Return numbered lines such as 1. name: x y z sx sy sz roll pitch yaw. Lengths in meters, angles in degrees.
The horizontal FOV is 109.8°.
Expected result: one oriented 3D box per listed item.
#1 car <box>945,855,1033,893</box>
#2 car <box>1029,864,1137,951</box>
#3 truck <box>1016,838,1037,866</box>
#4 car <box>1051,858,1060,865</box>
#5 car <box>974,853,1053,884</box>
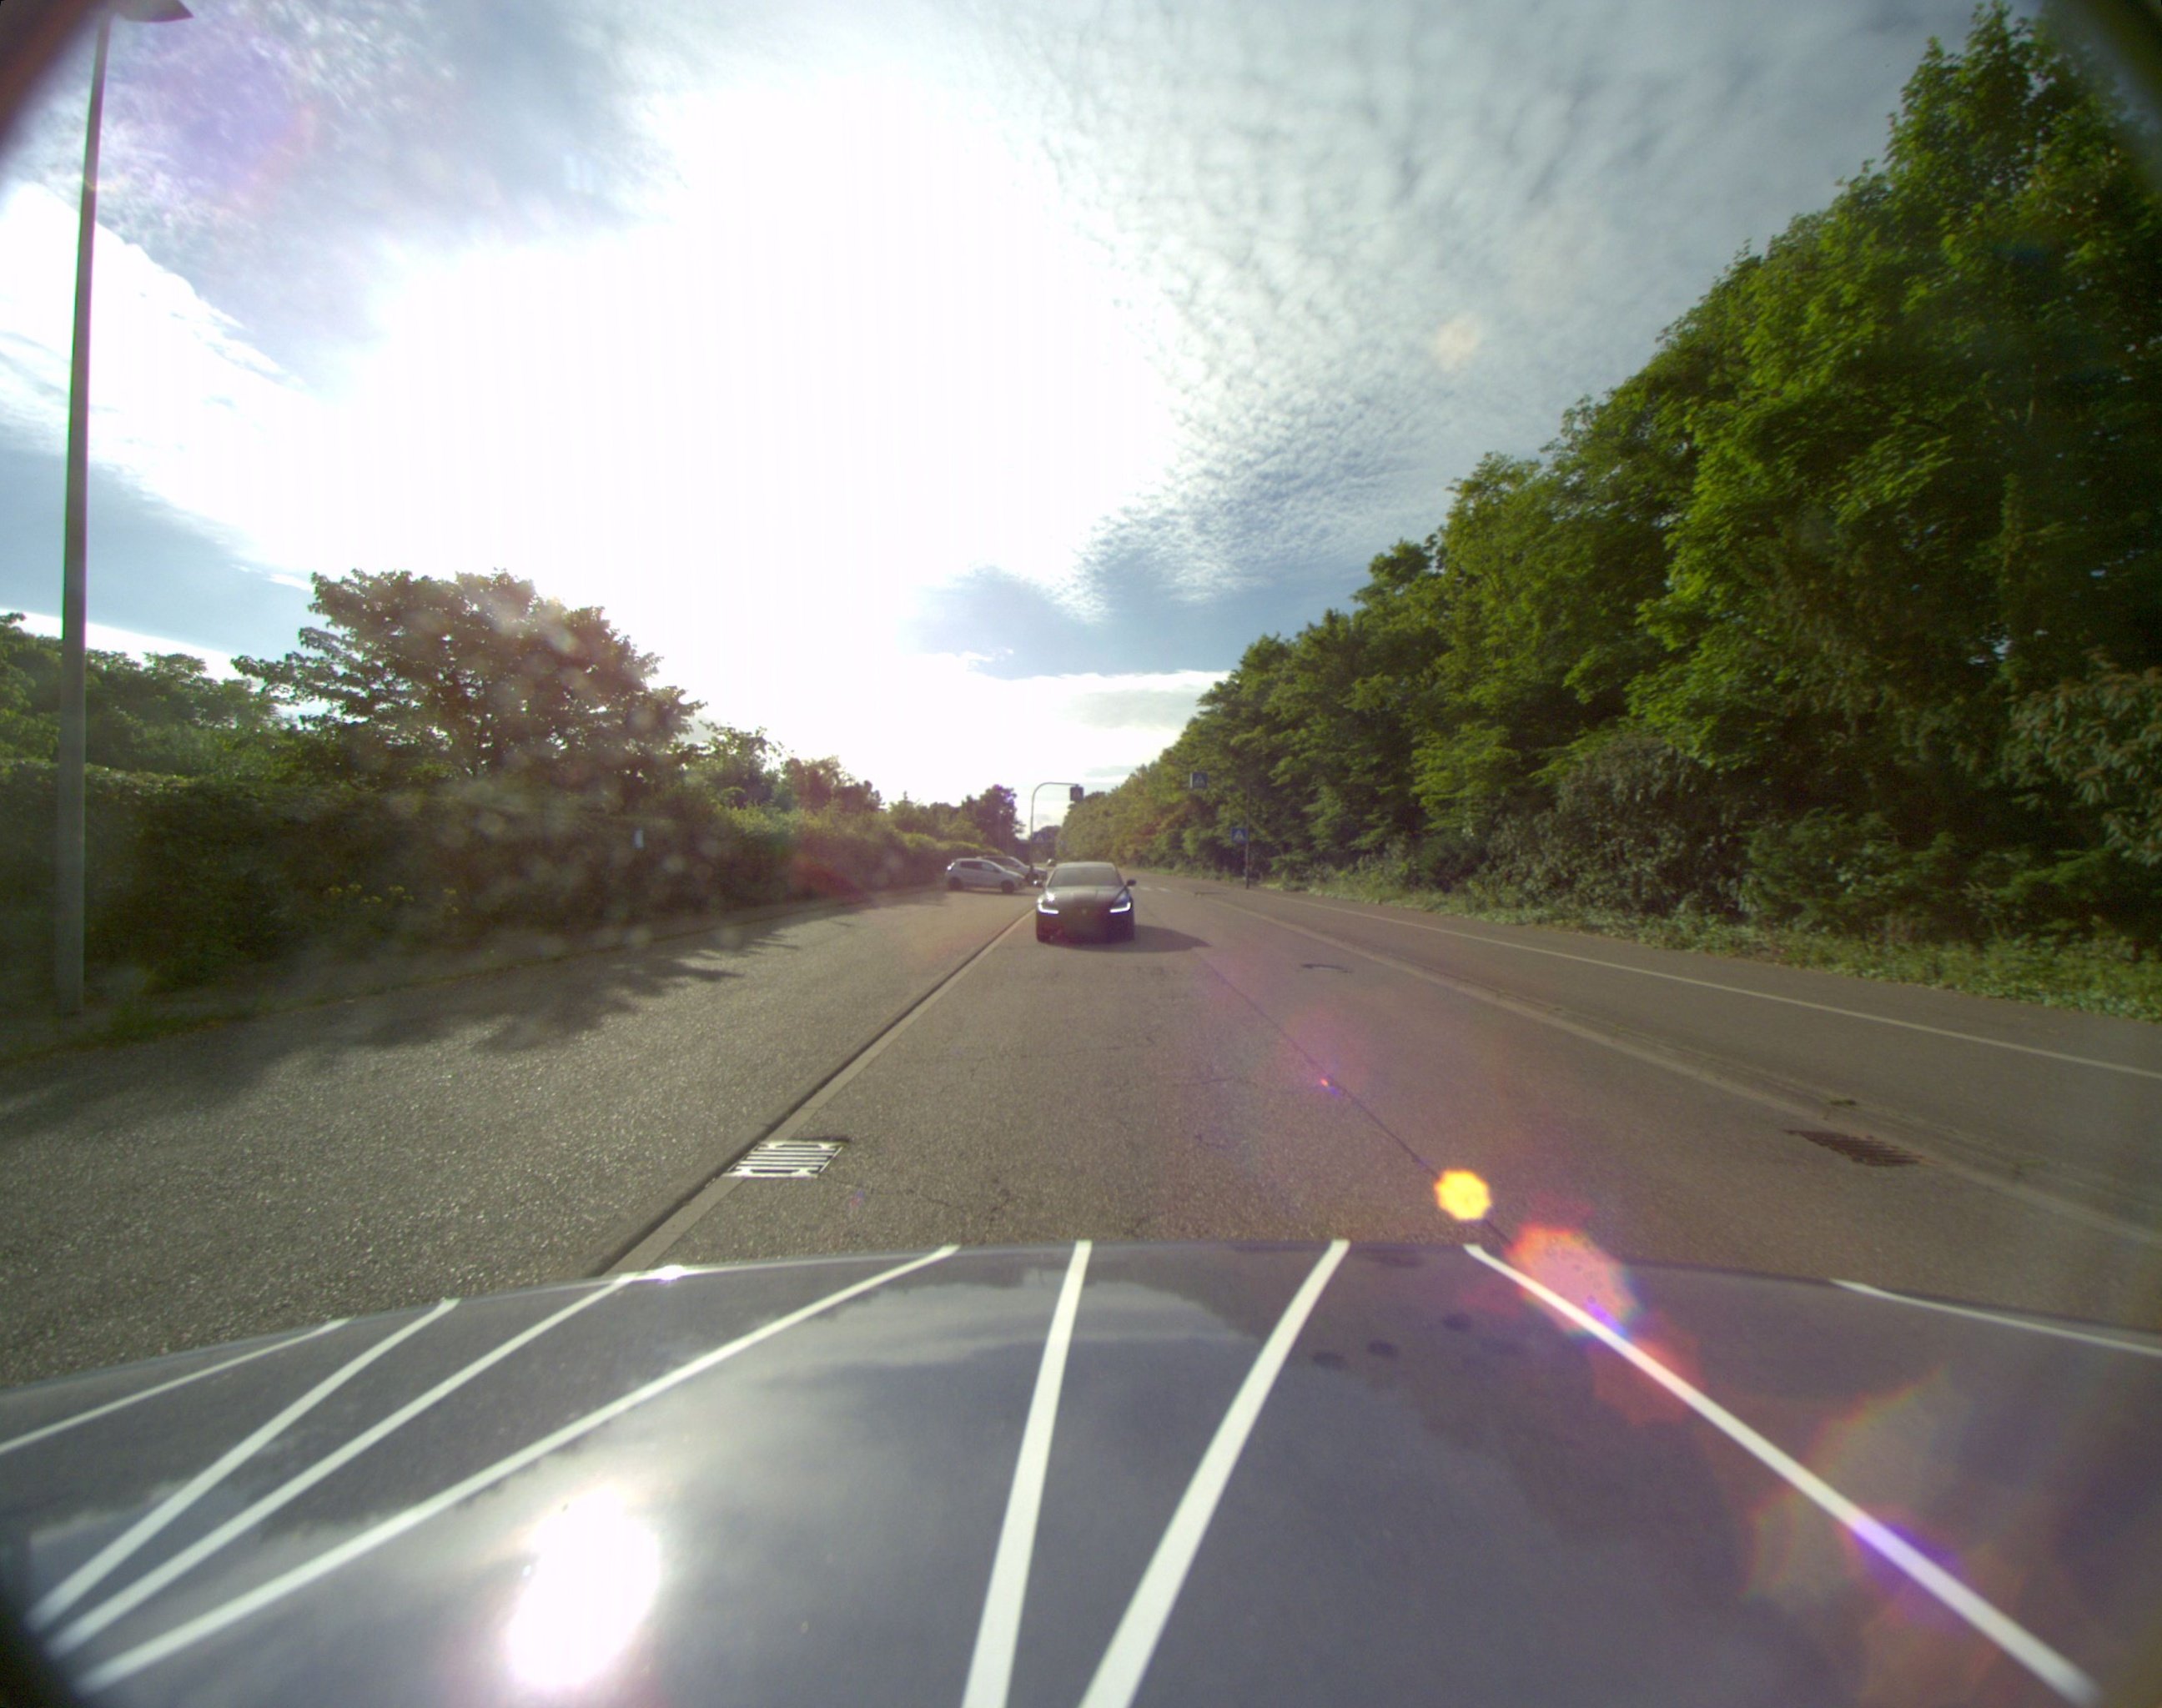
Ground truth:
1. car: -4.333 0.960 36.037 3.867 1.481 1.692 4 -2 0
2. car: 0.032 0.993 16.020 1.936 1.500 4.680 1 0 0
3. truck: -8.345 -0.214 116.718 2.604 3.934 6.280 5 -1 -7
4. car: -5.677 1.622 167.193 1.807 1.576 4.100 2 0 -3
5. car: -4.131 0.864 46.777 4.599 1.689 1.763 2 0 1
